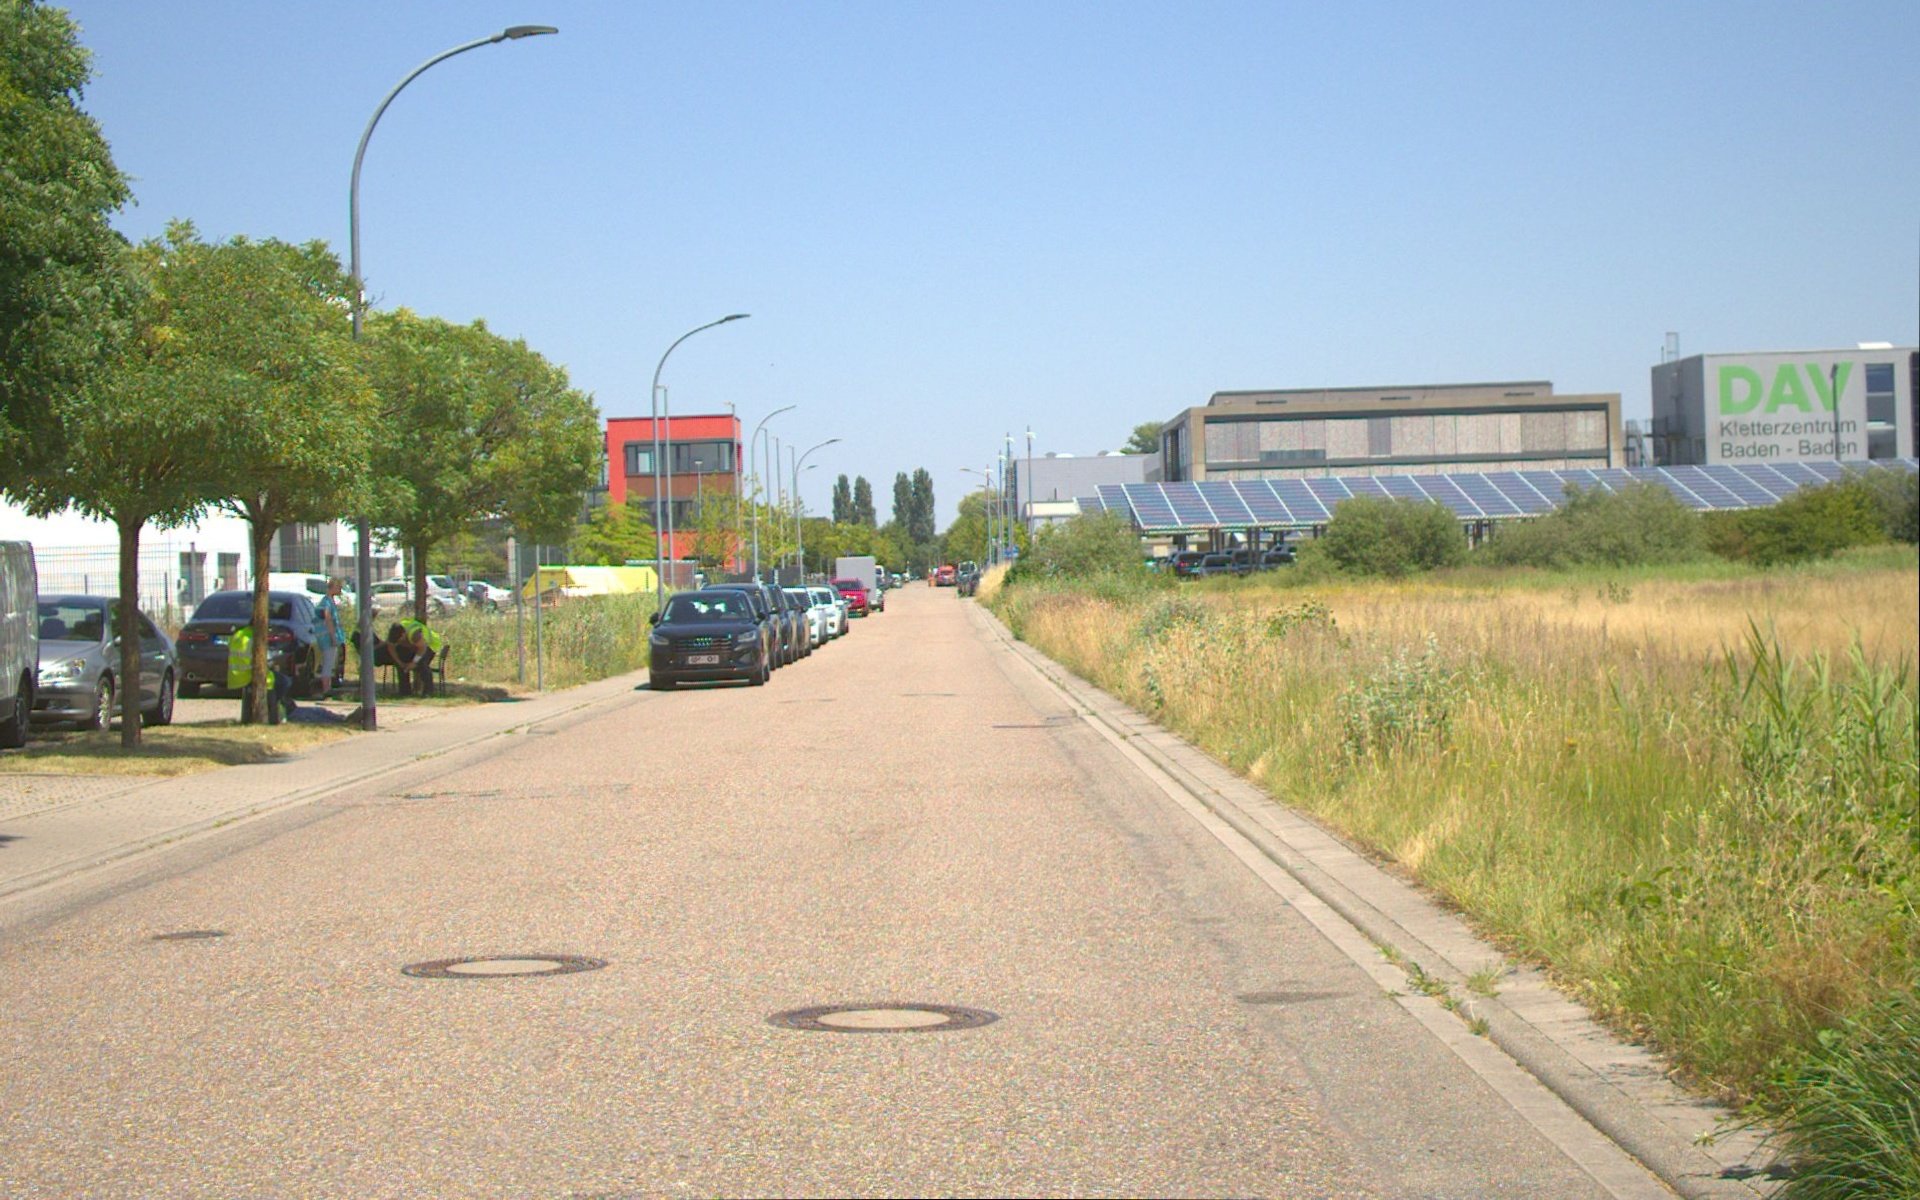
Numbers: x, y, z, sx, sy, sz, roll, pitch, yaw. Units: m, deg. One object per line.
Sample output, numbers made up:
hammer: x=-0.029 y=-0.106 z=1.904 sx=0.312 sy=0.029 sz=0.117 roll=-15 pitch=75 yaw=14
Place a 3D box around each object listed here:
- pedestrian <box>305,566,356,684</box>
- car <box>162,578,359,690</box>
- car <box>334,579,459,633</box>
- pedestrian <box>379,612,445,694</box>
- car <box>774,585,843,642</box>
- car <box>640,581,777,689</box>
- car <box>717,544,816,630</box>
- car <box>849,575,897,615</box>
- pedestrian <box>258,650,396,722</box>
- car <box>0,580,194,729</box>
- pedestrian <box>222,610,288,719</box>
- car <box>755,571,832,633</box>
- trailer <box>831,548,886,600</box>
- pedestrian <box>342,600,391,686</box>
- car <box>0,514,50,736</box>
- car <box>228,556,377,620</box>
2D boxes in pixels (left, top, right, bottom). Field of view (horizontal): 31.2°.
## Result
pedestrian: x=-8.576 y=0.333 z=46.850 sx=0.506 sy=1.590 sz=0.753 roll=1 pitch=0 yaw=2
car: x=-9.804 y=0.445 z=48.530 sx=1.926 sy=1.459 sz=4.692 roll=1 pitch=1 yaw=-2
car: x=-22.242 y=0.226 z=135.764 sx=4.528 sy=1.936 sz=2.031 roll=-2 pitch=0 yaw=0
pedestrian: x=-7.471 y=0.721 z=46.875 sx=0.750 sy=1.095 sz=0.646 roll=1 pitch=0 yaw=4
car: x=-4.310 y=0.362 z=98.260 sx=1.787 sy=1.515 sz=3.983 roll=-2 pitch=1 yaw=0
car: x=-3.970 y=0.520 z=54.825 sx=1.926 sy=1.562 sz=4.190 roll=-2 pitch=1 yaw=-1
car: x=-3.967 y=-0.282 z=71.204 sx=1.768 sy=1.657 sz=4.552 roll=-2 pitch=1 yaw=0
car: x=-3.468 y=-0.225 z=137.369 sx=1.787 sy=1.515 sz=3.982 roll=-2 pitch=0 yaw=0
pedestrian: x=-6.978 y=0.943 z=37.935 sx=1.358 sy=0.746 sz=0.753 roll=1 pitch=0 yaw=2
car: x=-9.603 y=0.584 z=36.159 sx=1.927 sy=1.436 sz=4.841 roll=-2 pitch=-1 yaw=0
pedestrian: x=-7.552 y=0.691 z=36.842 sx=0.479 sy=1.146 sz=0.555 roll=1 pitch=-2 yaw=10
car: x=-4.205 y=0.037 z=87.211 sx=1.787 sy=1.515 sz=3.983 roll=0 pitch=1 yaw=0
trailer: x=-4.378 y=-1.117 z=148.740 sx=2.201 sy=2.130 sz=4.286 roll=-2 pitch=0 yaw=0
pedestrian: x=-8.360 y=0.601 z=48.427 sx=0.506 sy=1.187 sz=0.753 roll=1 pitch=0 yaw=2
car: x=-9.569 y=0.239 z=30.477 sx=1.837 sy=2.012 sz=5.126 roll=0 pitch=1 yaw=-2
car: x=-22.048 y=-0.405 z=115.434 sx=4.528 sy=1.936 sz=2.031 roll=-2 pitch=0 yaw=0
